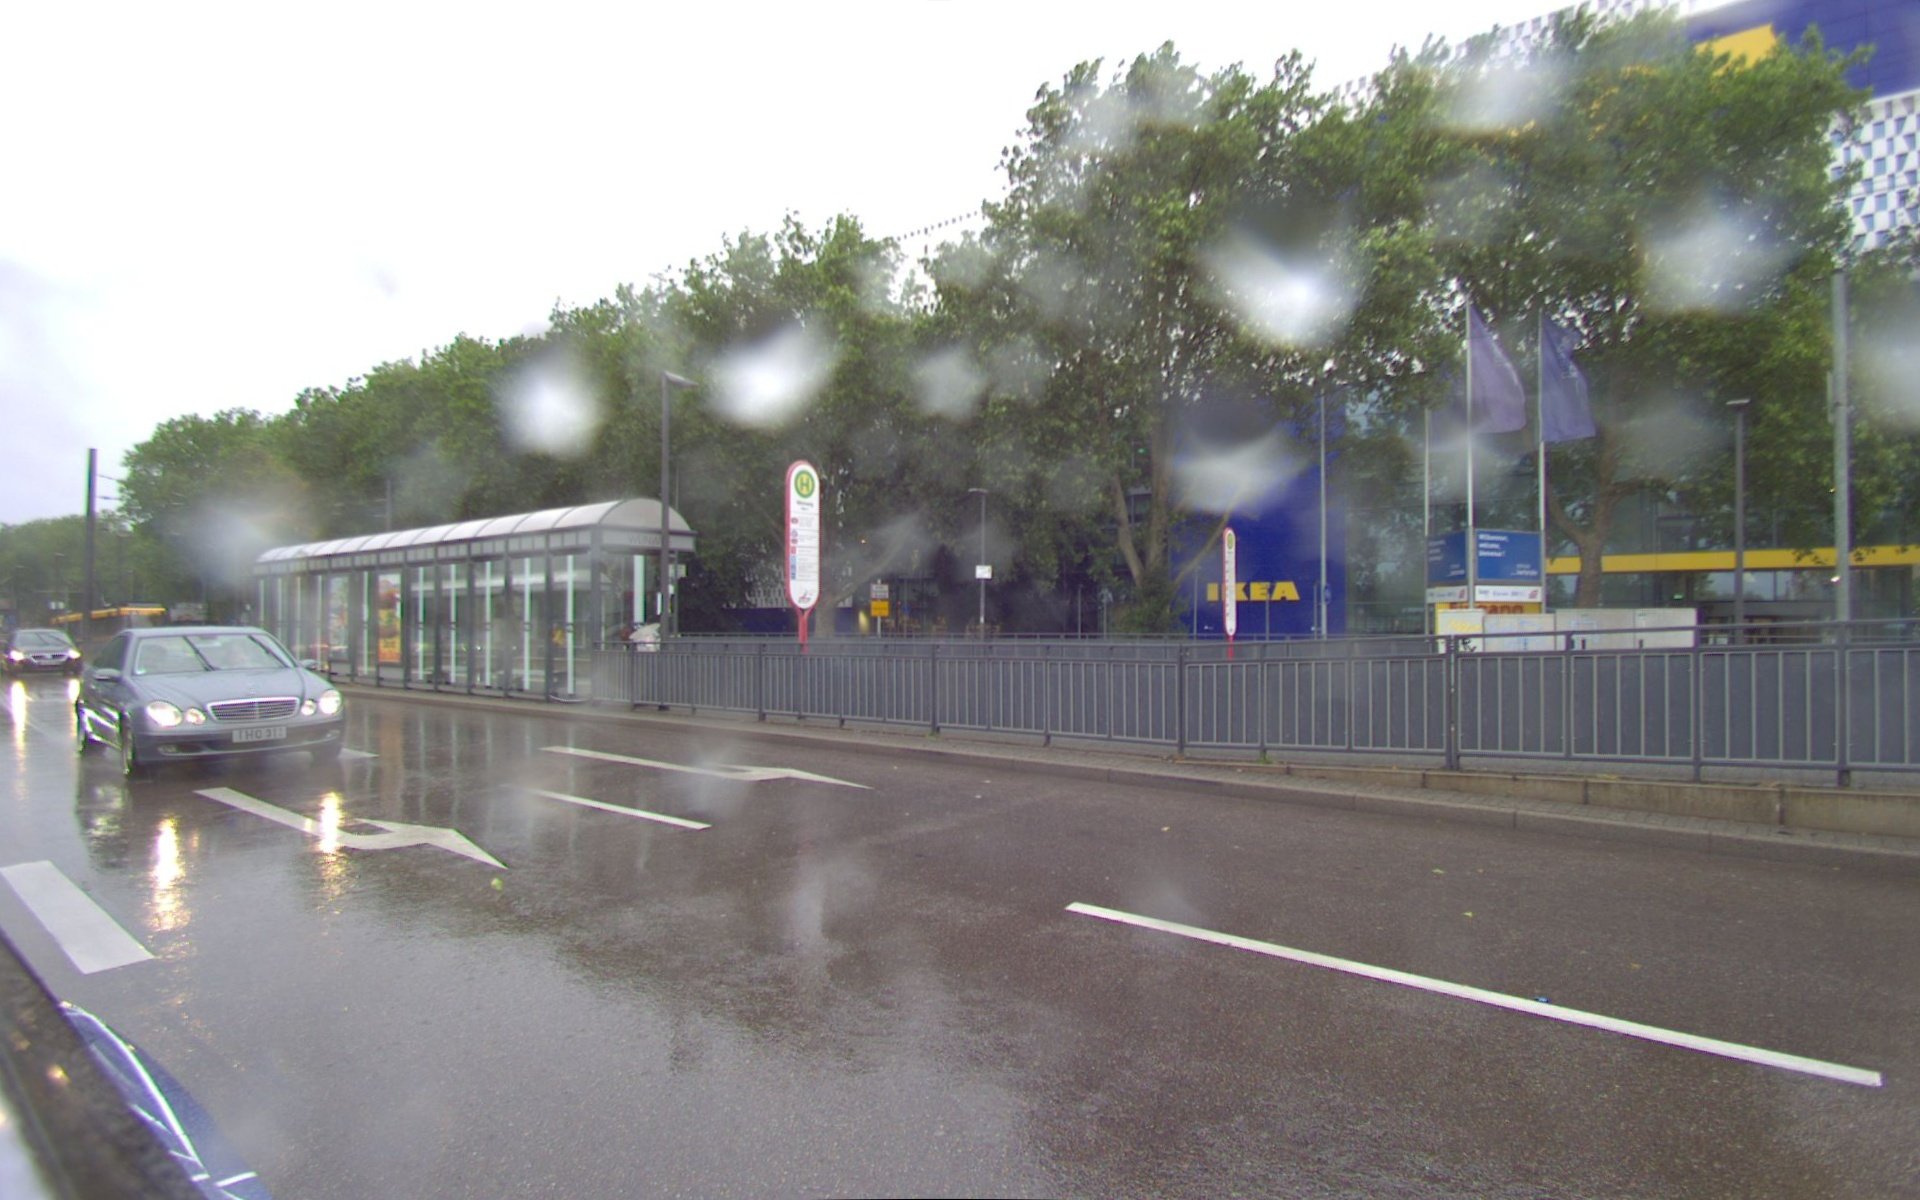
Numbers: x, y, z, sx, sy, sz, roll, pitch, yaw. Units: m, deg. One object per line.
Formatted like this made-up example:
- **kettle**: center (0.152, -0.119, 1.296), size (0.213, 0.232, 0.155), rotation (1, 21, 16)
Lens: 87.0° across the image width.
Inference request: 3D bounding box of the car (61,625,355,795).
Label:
- **car**: center (-8.318, 1.011, 11.008), size (4.645, 1.409, 1.743), rotation (-1, 0, 43)

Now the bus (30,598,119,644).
- **bus**: center (-70.002, 1.633, 79.843), size (15.049, 3.354, 2.902), rotation (-1, 0, 40)

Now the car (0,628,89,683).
- **car**: center (-28.891, 1.680, 31.819), size (4.596, 1.512, 1.752), rotation (-1, 0, 43)

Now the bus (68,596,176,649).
- **bus**: center (-58.337, 1.508, 70.213), size (15.047, 3.354, 2.902), rotation (-1, 0, 39)
